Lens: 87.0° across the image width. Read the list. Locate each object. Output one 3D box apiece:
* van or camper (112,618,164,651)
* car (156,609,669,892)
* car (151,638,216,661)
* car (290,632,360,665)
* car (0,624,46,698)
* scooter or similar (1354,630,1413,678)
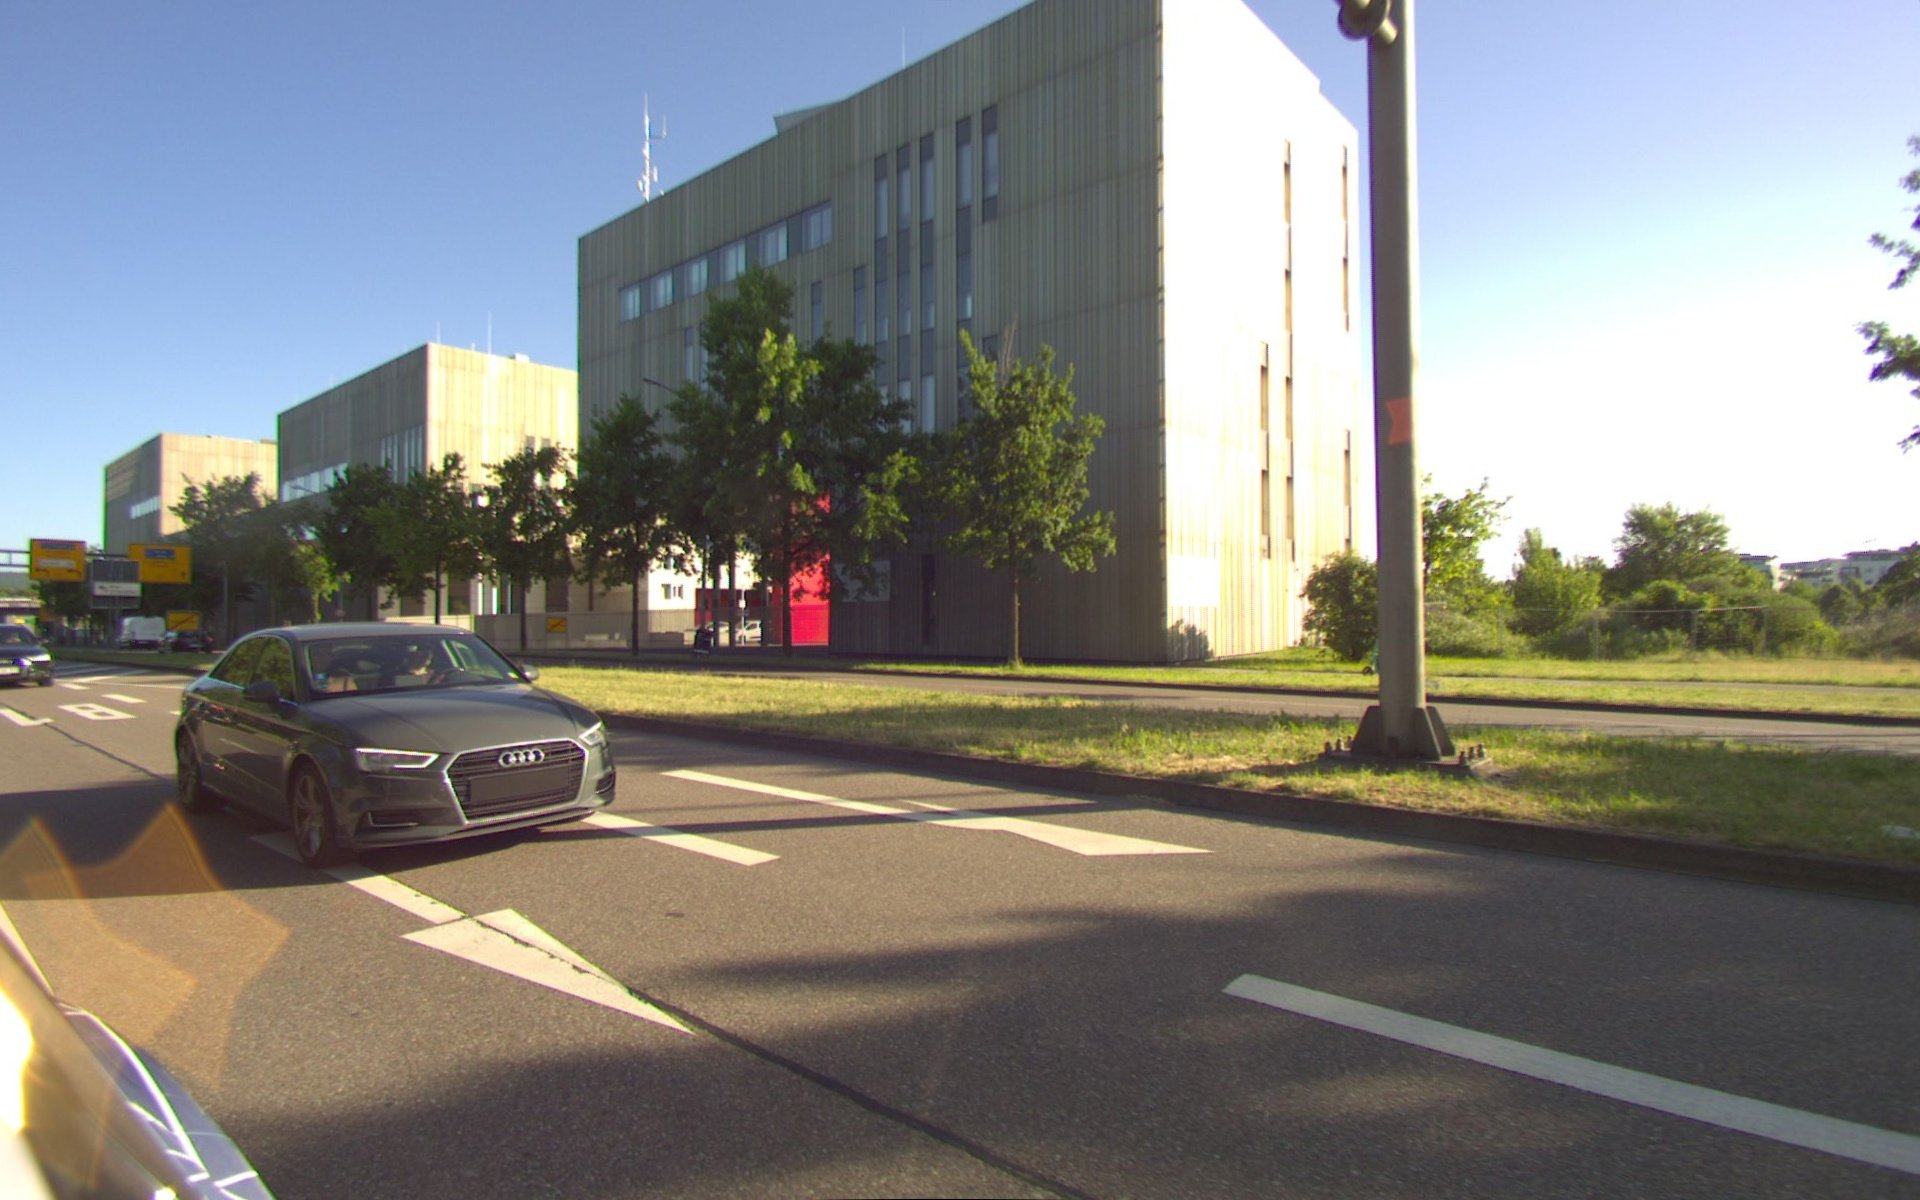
[{"bbox_3d":[-61.293,2.612,75.426,5.990,2.387,1.973,-2,-4,41],"label":"van or camper"},{"bbox_3d":[-4.071,0.831,7.174,4.360,1.415,1.681,-2,-1,39],"label":"car"},{"bbox_3d":[-40.645,2.586,52.962,4.170,1.120,1.809,-2,-2,40],"label":"car"},{"bbox_3d":[-30.664,2.332,48.850,4.045,1.488,1.671,-2,-2,40],"label":"car"},{"bbox_3d":[-22.073,1.375,22.857,3.944,1.549,1.680,-2,-1,41],"label":"car"},{"bbox_3d":[10.488,1.330,25.099,1.327,1.158,0.229,-2,-2,42],"label":"scooter or similar"}]
